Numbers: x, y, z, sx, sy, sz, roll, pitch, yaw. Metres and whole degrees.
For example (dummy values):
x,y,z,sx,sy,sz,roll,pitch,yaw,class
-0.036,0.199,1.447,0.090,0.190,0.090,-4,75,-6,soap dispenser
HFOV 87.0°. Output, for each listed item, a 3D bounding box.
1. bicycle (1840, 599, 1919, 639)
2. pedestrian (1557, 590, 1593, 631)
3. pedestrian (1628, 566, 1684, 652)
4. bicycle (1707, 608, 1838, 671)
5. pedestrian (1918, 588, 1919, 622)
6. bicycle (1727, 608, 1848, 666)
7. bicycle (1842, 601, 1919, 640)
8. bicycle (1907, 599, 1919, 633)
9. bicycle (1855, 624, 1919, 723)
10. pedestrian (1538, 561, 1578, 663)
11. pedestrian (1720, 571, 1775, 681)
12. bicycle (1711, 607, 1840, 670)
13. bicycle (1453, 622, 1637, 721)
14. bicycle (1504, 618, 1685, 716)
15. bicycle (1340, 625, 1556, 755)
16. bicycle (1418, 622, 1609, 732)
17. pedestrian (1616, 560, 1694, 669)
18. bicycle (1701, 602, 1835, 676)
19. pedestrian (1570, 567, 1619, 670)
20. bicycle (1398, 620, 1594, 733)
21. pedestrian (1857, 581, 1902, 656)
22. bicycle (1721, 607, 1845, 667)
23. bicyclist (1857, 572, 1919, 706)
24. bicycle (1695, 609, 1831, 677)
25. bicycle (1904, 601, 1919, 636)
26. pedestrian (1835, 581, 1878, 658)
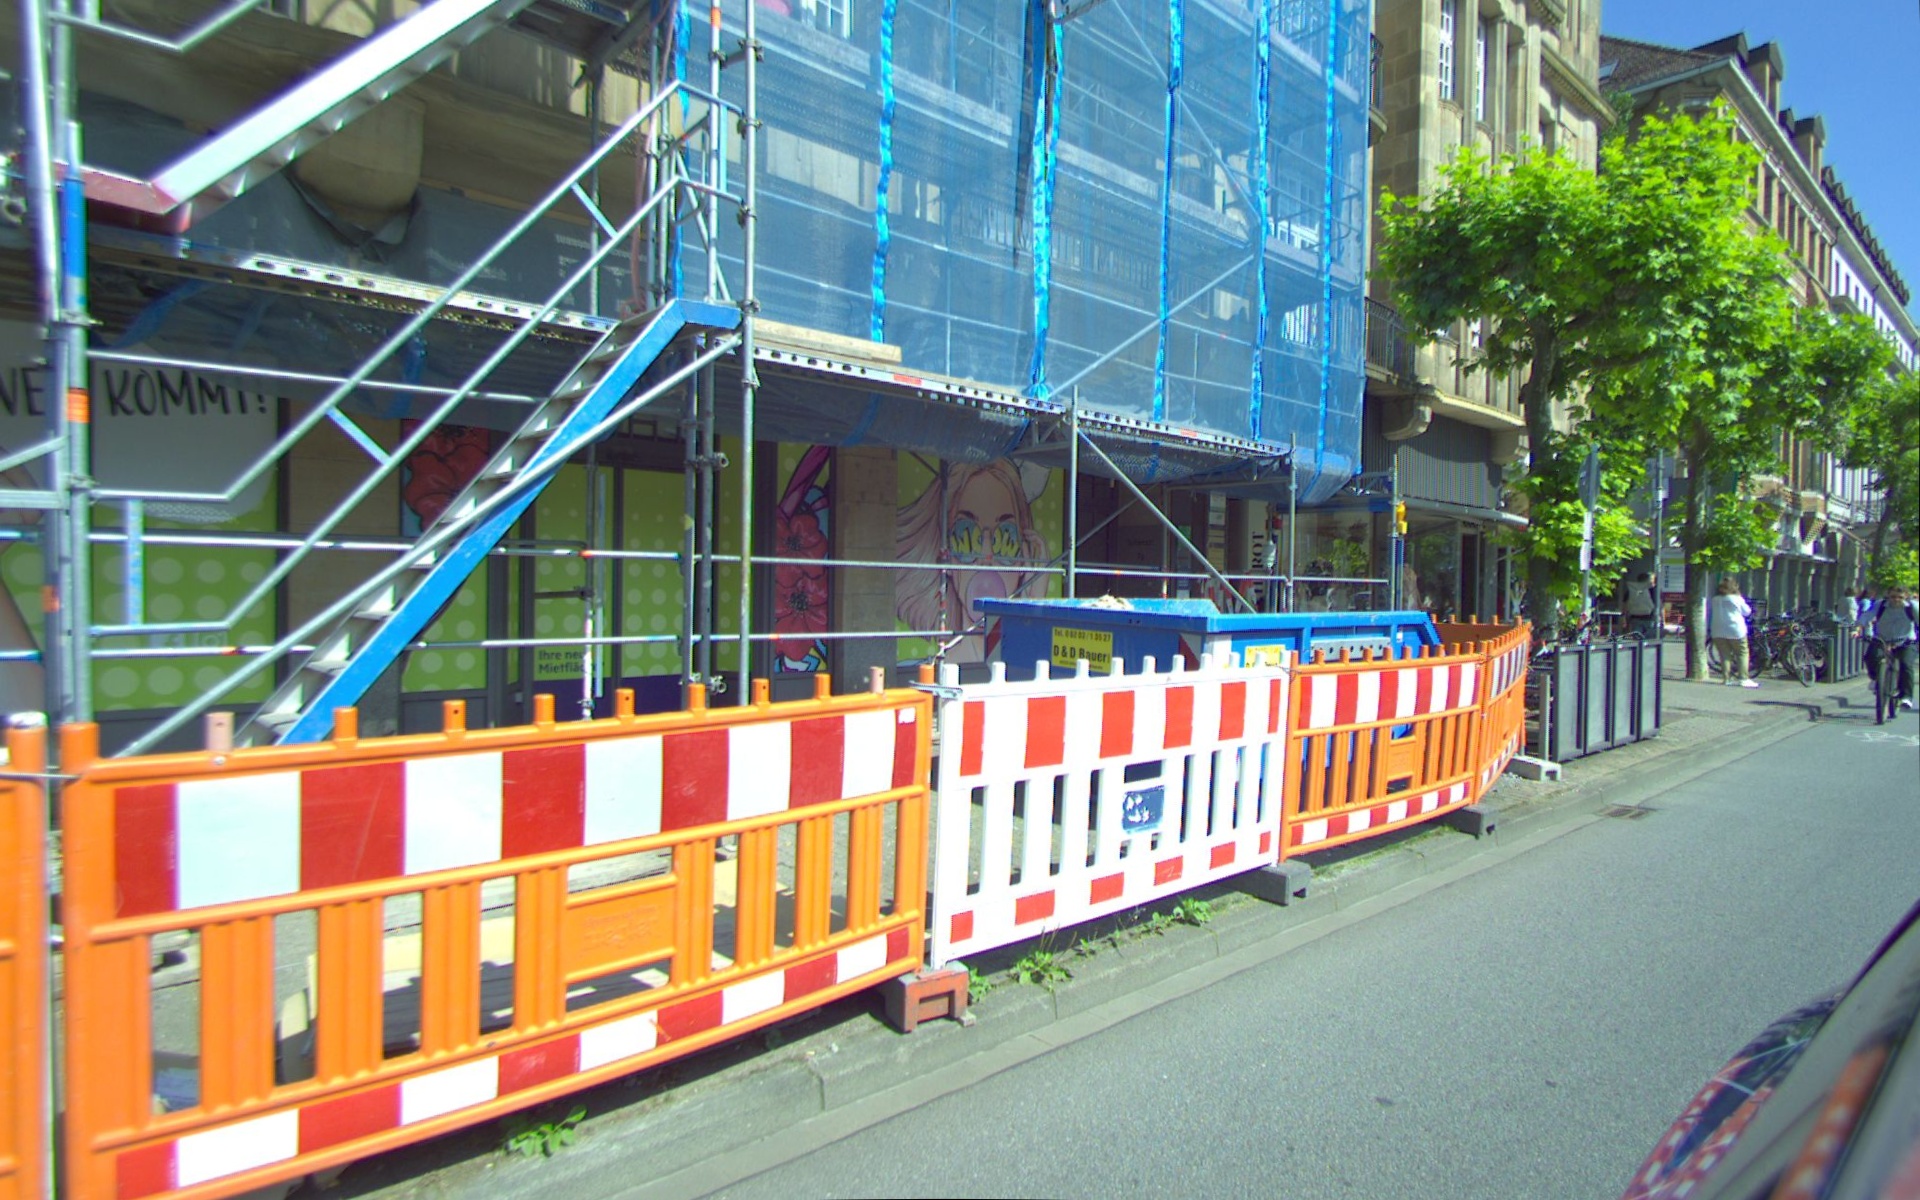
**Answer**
x,y,z,sx,sy,sz,roll,pitch,yaw,class
27.900,0.566,30.725,0.474,1.161,1.755,0,1,-42,bicycle
19.369,0.320,31.870,0.628,1.271,0.793,0,-1,-36,pedestrian
14.919,0.182,21.691,0.966,1.803,0.670,0,1,-36,pedestrian
14.499,0.674,18.093,0.547,1.031,1.755,0,1,-42,bicycle
49.420,0.257,51.664,0.664,1.718,0.658,0,-1,-39,pedestrian
15.836,0.688,19.402,0.474,1.031,1.755,0,1,-42,bicycle
28.362,0.618,31.175,0.474,1.161,1.755,0,1,-42,bicycle
33.522,0.565,34.504,0.491,1.161,1.755,0,1,-42,bicycle
11.701,0.874,12.514,1.865,1.107,0.735,0,-1,-42,bicycle
10.241,0.196,17.341,0.470,1.703,0.380,1,1,18,pedestrian
12.492,0.387,16.061,0.655,1.704,0.644,1,1,39,pedestrian
14.919,0.681,18.558,0.577,1.030,1.755,0,2,-42,bicycle
6.625,0.789,11.532,1.734,1.031,0.480,1,0,17,bicycle
7.463,0.753,11.973,0.474,1.031,1.755,0,1,-42,bicycle
4.478,0.786,9.395,0.474,1.031,1.755,0,1,-42,bicycle
5.914,0.781,10.898,0.474,1.031,1.755,0,1,-42,bicycle
12.395,0.235,18.058,0.874,1.871,0.818,0,2,-33,pedestrian
14.064,0.642,17.659,0.569,1.196,1.755,0,1,-42,bicycle
10.759,0.302,17.183,0.530,1.703,0.497,2,2,17,pedestrian
5.537,0.752,10.545,0.474,1.031,1.755,0,1,-42,bicycle
20.986,0.407,23.101,0.695,1.646,0.691,3,2,44,pedestrian
15.411,0.665,18.989,0.474,1.031,1.755,0,1,-42,bicycle
11.677,0.468,12.524,0.765,1.597,0.749,0,-1,-41,bicyclist
13.387,0.684,16.937,0.644,1.031,1.762,0,1,-12,bicycle
32.927,0.627,33.998,0.474,1.161,1.755,0,1,-42,bicycle
19.792,0.420,22.340,0.599,1.646,0.634,5,3,43,pedestrian
